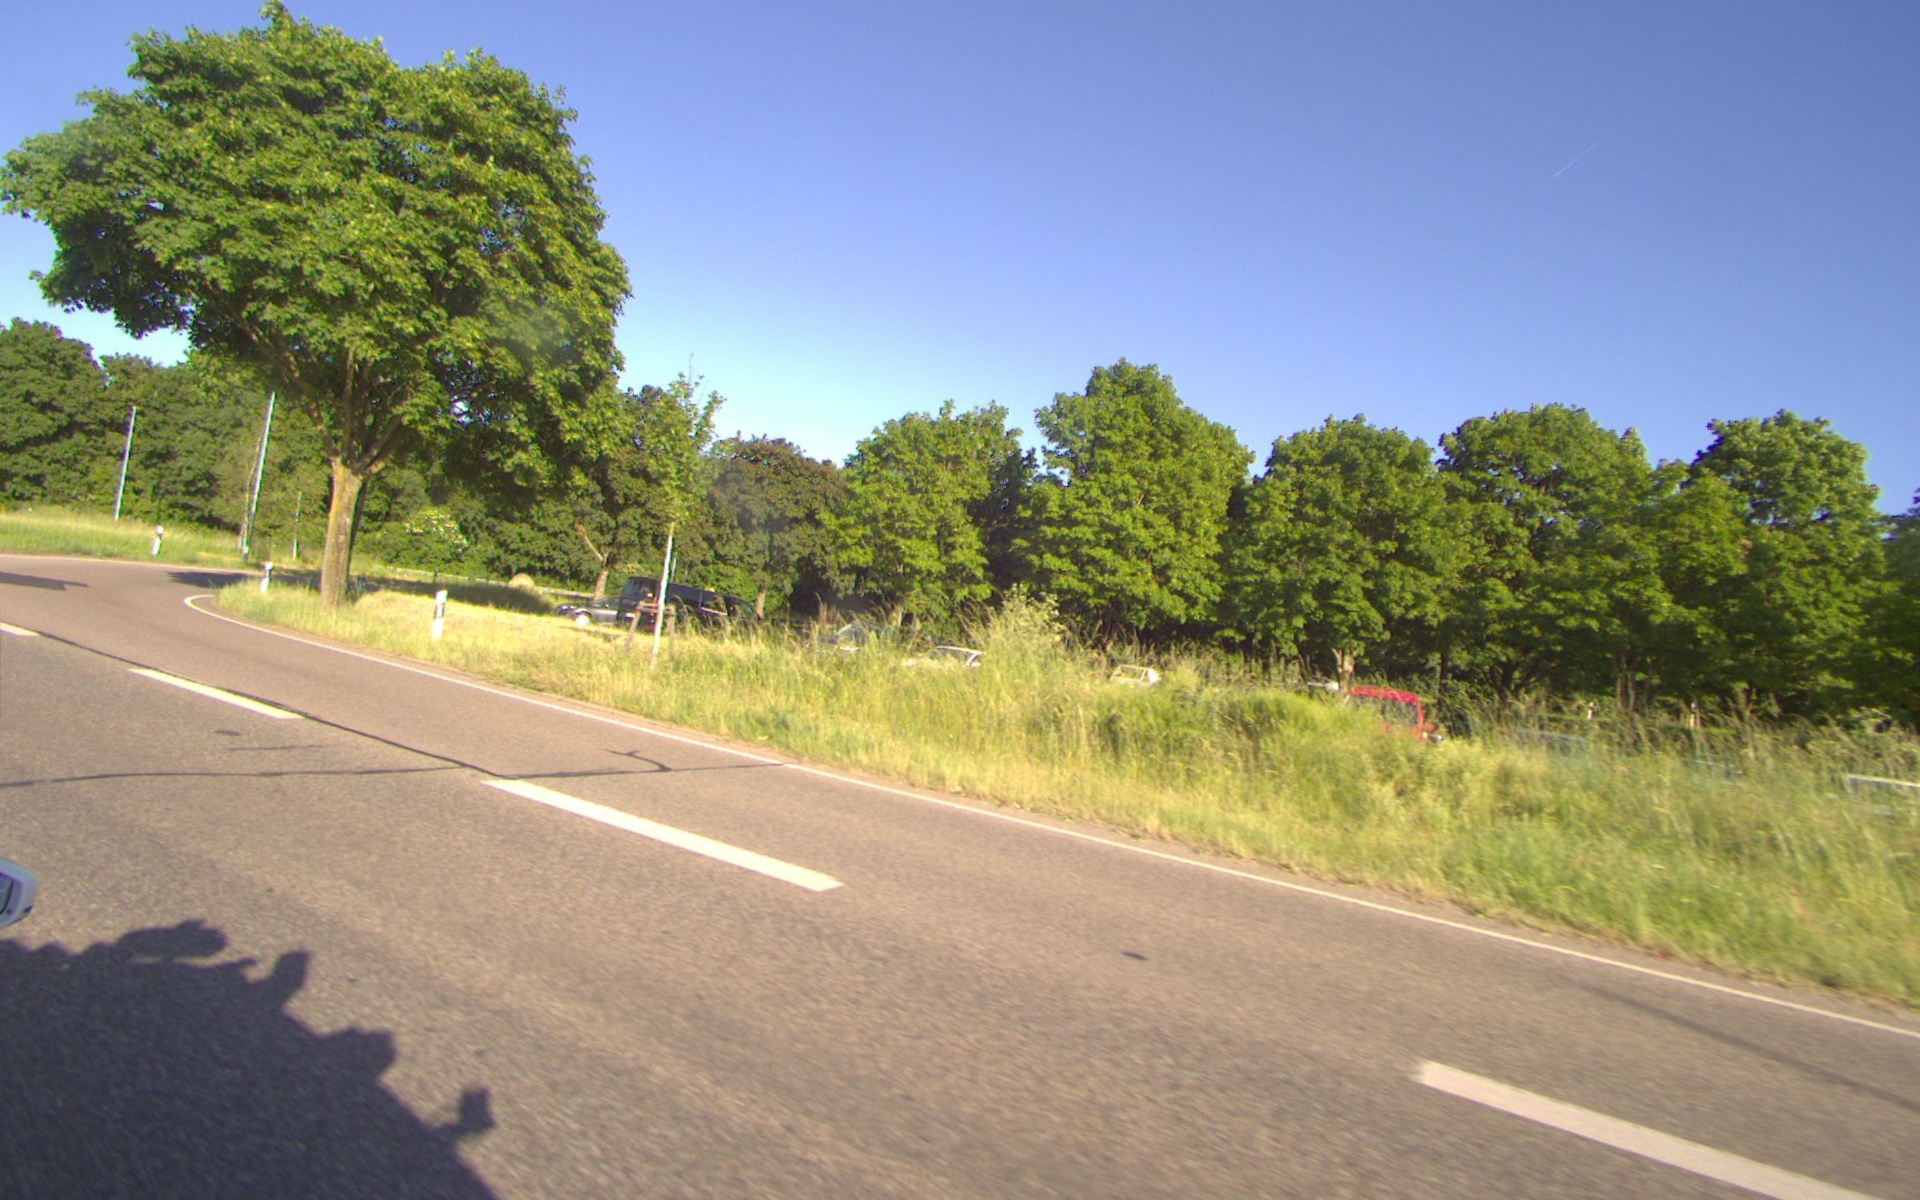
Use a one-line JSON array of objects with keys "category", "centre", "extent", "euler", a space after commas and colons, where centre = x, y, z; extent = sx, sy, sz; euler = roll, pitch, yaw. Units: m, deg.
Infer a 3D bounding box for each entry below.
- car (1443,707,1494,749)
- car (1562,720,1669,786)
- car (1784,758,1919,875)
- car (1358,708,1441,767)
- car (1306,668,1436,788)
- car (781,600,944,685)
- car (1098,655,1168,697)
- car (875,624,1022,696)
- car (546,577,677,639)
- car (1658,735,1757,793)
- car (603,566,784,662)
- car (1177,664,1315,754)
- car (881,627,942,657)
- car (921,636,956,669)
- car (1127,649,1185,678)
[{"category": "car", "centre": [23.071, 5.793, 45.549], "extent": [1.757, 1.577, 4.226], "euler": [6, -4, 30]}, {"category": "car", "centre": [18.083, 4.180, 27.932], "extent": [1.989, 1.440, 4.122], "euler": [4, -4, 28]}, {"category": "car", "centre": [15.313, 3.538, 16.528], "extent": [1.891, 1.476, 3.943], "euler": [4, -4, 28]}, {"category": "car", "centre": [13.525, 4.148, 30.833], "extent": [1.989, 1.474, 4.122], "euler": [4, -4, 28]}, {"category": "car", "centre": [8.719, 2.623, 21.085], "extent": [1.992, 2.045, 4.803], "euler": [4, -4, 27]}, {"category": "car", "centre": [-2.586, 1.252, 28.103], "extent": [2.185, 1.696, 4.876], "euler": [6, -5, 26]}, {"category": "car", "centre": [9.290, 4.092, 53.682], "extent": [1.924, 1.887, 5.202], "euler": [6, -2, 29]}, {"category": "car", "centre": [-0.201, 1.641, 26.633], "extent": [1.928, 1.324, 4.227], "euler": [6, -5, 29]}, {"category": "car", "centre": [-12.805, 0.314, 37.046], "extent": [4.184, 1.576, 1.776], "euler": [11, -5, -29]}, {"category": "car", "centre": [23.944, 5.210, 32.375], "extent": [1.834, 1.440, 4.122], "euler": [4, -4, 27]}, {"category": "car", "centre": [-8.169, 0.494, 31.287], "extent": [2.062, 2.158, 5.041], "euler": [5, -5, 37]}, {"category": "car", "centre": [6.348, 2.442, 22.024], "extent": [1.928, 1.516, 4.021], "euler": [6, -5, 29]}, {"category": "car", "centre": [-3.580, 3.082, 74.173], "extent": [3.943, 1.595, 1.902], "euler": [8, -1, -19]}, {"category": "car", "centre": [-1.254, 2.975, 57.502], "extent": [1.755, 1.577, 4.229], "euler": [8, -3, -2]}, {"category": "car", "centre": [14.413, 4.645, 73.844], "extent": [3.924, 1.595, 1.912], "euler": [8, -1, 13]}]
